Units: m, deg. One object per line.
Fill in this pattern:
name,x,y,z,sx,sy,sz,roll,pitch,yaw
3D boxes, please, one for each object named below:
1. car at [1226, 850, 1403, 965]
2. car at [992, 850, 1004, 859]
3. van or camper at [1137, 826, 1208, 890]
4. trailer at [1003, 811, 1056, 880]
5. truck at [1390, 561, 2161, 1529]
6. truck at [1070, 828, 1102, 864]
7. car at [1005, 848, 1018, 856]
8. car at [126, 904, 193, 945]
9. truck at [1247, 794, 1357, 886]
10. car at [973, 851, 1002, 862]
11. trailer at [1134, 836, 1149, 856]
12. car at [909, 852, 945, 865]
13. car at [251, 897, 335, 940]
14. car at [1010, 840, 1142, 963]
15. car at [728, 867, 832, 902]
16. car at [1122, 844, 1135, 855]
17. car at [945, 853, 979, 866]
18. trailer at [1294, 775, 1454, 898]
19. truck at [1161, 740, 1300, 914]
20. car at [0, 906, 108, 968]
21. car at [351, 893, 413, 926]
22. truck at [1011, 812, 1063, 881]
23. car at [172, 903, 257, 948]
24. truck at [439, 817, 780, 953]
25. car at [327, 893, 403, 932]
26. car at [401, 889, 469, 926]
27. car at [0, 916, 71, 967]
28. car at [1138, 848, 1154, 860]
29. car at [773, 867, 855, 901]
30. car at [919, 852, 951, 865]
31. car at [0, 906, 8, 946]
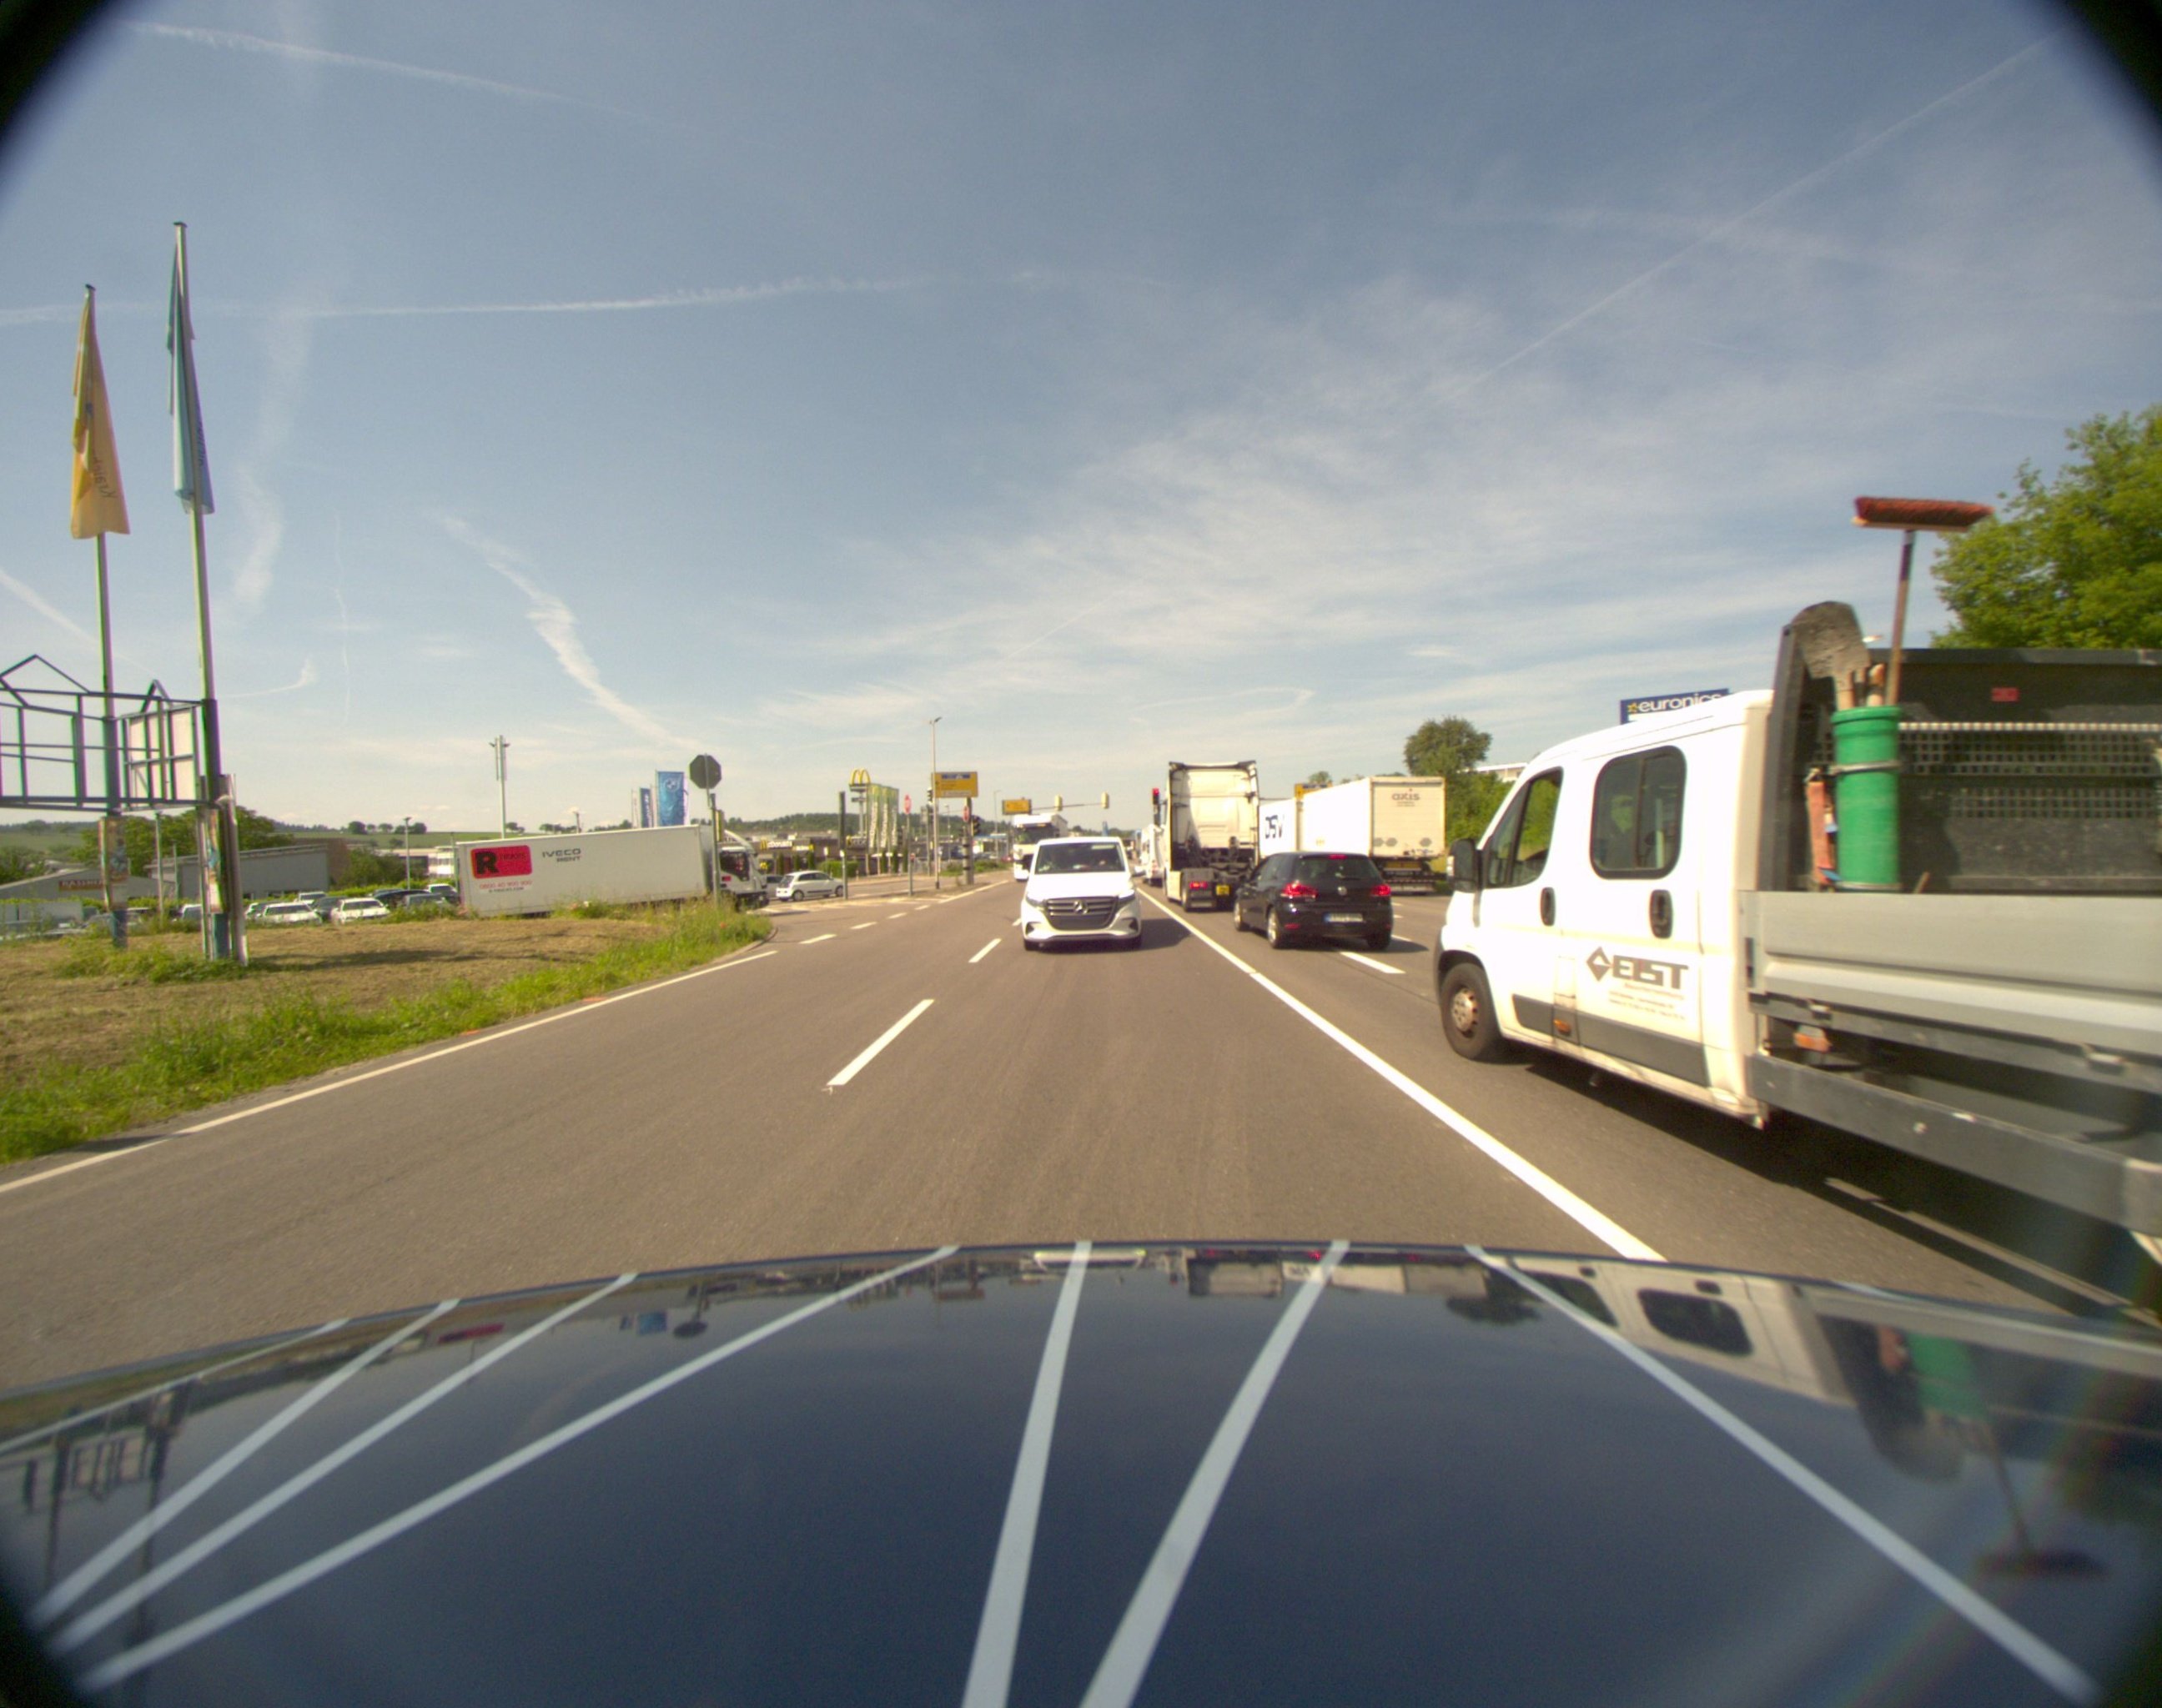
car,3.639,0.735,12.601,1.715,1.542,4.108,0,1,1
car,-16.017,0.088,147.178,1.907,1.645,4.709,0,1,-1
van or camper,3.987,0.103,34.451,2.336,2.585,6.977,0,1,-1
trailer,-3.748,-0.597,52.591,2.615,4.203,11.281,-1,1,-9
truck,3.659,0.421,3.150,2.232,2.255,6.499,0,1,1
truck,0.648,-0.905,87.417,2.646,3.964,9.242,0,1,7
car,-15.062,-0.481,165.361,1.773,1.645,4.540,0,1,8
car,-46.093,3.466,37.997,4.069,1.609,2.013,0,1,38
truck,10.919,-0.673,38.753,2.837,4.092,9.680,0,1,0
car,-14.456,0.364,117.504,4.031,1.661,1.772,-1,1,-28
trailer,12.844,-1.793,162.161,2.698,4.124,13.880,0,1,3
car,-21.487,0.578,105.917,1.907,1.661,4.828,0,1,38
car,-37.518,3.013,36.169,4.461,1.609,2.096,0,1,35
car,0.061,0.679,14.405,1.993,1.858,5.803,0,1,3
car,-17.031,1.698,43.212,1.994,1.497,5.008,-2,2,42
car,7.842,-0.710,125.521,1.998,1.716,4.000,0,1,4
car,-15.939,0.710,101.949,1.855,1.567,4.242,0,1,38
trailer,10.925,-0.621,29.510,2.847,4.046,8.754,0,1,0
truck,3.824,-0.671,20.888,2.543,4.064,6.264,0,1,0
car,-31.013,2.448,21.299,1.994,1.452,4.328,1,3,44
car,-41.054,3.211,44.616,4.069,1.609,2.013,0,1,38
truck,-2.802,-0.479,46.605,2.649,3.964,6.036,-1,1,-8
car,-38.960,3.168,34.147,4.023,1.609,2.096,0,1,35
truck,-16.348,0.942,27.327,9.705,3.608,2.763,-6,2,-15
car,-35.987,2.886,38.161,4.466,1.609,2.004,0,1,37
car,-34.010,2.756,39.971,3.988,1.609,2.004,0,1,39
car,-42.124,3.459,30.283,3.988,1.609,2.096,0,1,35
car,8.557,0.016,99.990,1.729,1.493,3.999,1,1,1
car,-14.452,1.610,41.305,1.706,1.496,3.762,-2,2,41
car,-20.032,0.588,104.363,1.771,1.661,4.178,0,1,38
car,-50.289,3.315,34.353,4.069,1.609,2.013,0,1,35
